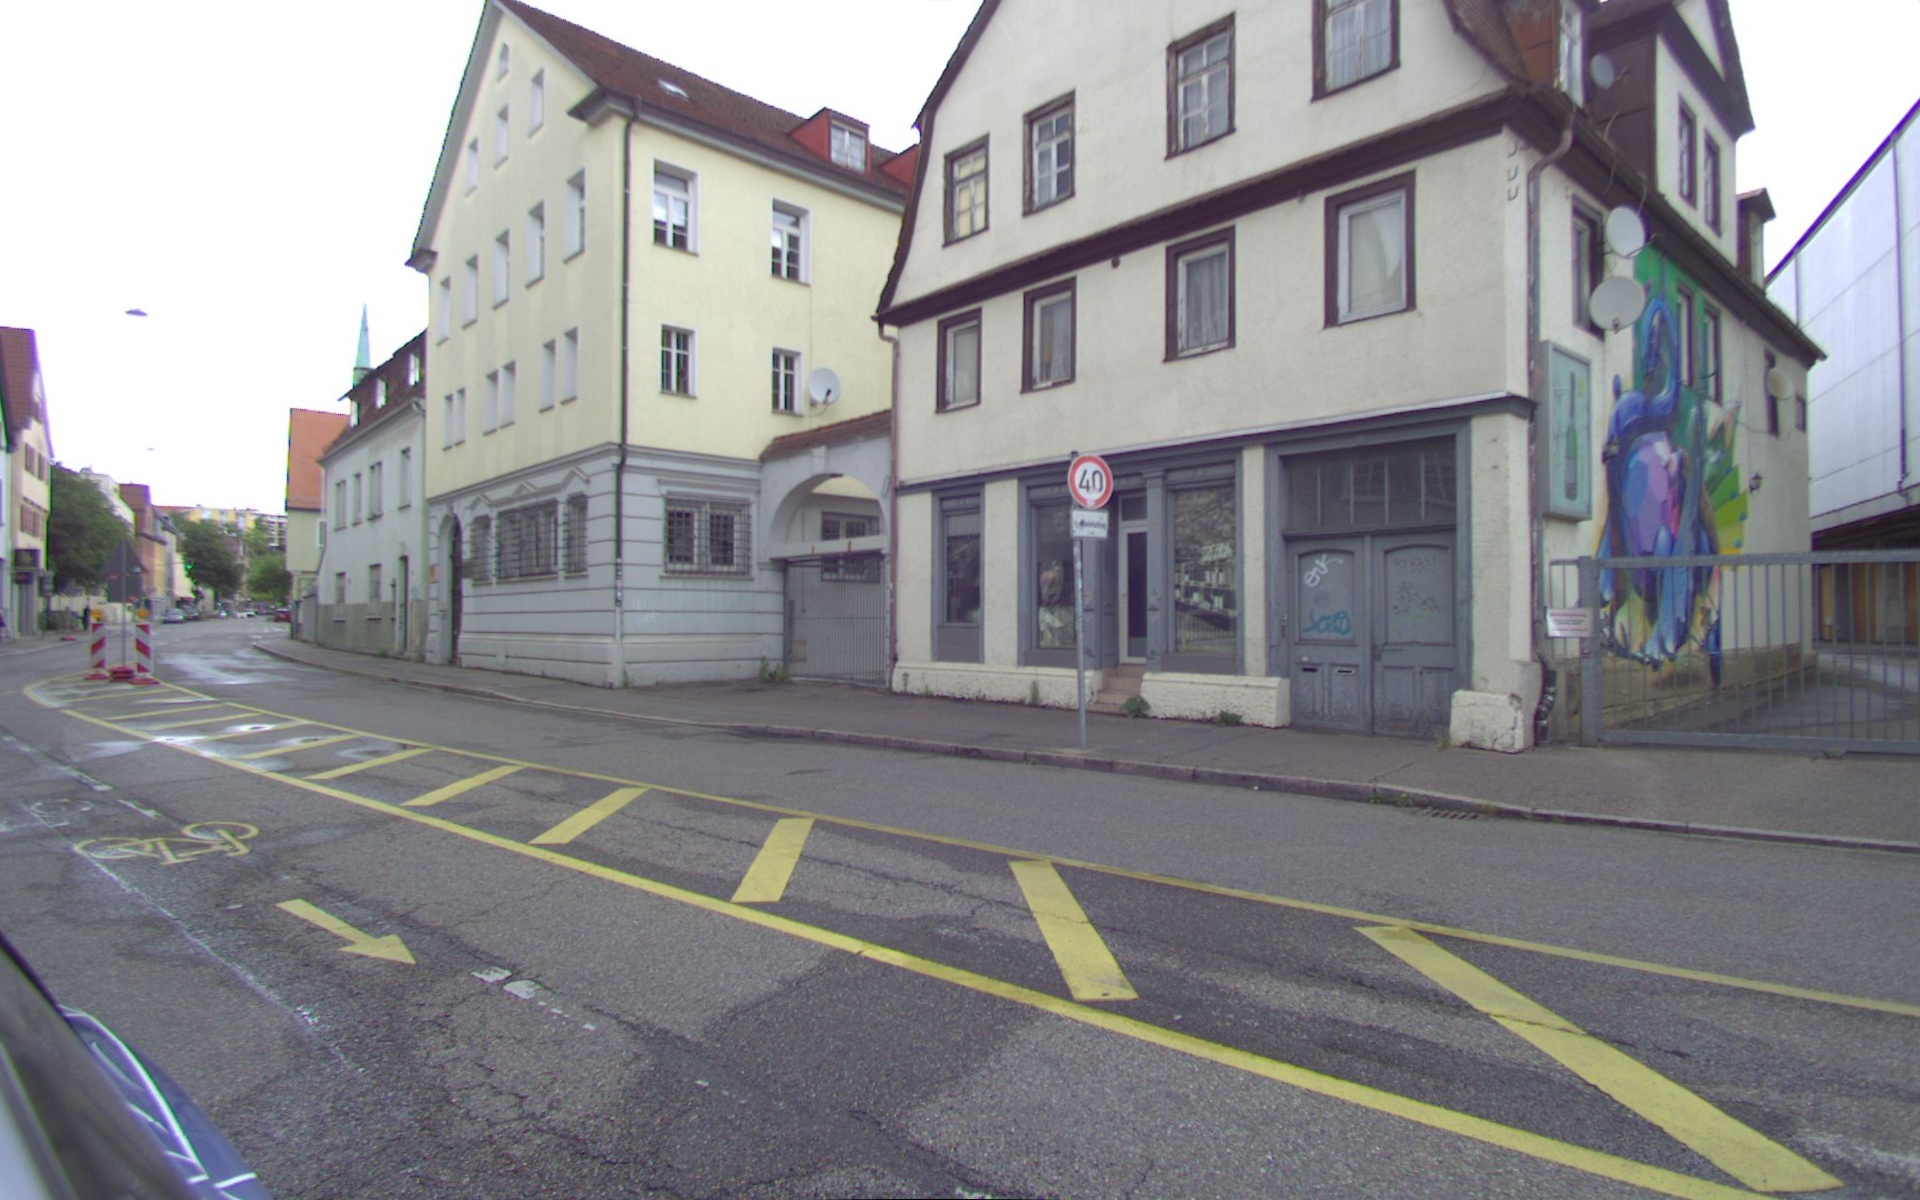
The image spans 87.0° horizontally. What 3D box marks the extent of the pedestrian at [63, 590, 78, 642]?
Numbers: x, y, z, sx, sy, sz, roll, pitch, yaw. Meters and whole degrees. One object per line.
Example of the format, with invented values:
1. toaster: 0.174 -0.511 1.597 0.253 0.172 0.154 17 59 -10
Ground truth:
1. pedestrian: -43.673 0.779 49.711 0.487 2.547 0.747 1 -2 -38

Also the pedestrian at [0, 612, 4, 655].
1. pedestrian: -36.309 1.263 37.870 0.714 1.626 0.649 1 -2 -39
